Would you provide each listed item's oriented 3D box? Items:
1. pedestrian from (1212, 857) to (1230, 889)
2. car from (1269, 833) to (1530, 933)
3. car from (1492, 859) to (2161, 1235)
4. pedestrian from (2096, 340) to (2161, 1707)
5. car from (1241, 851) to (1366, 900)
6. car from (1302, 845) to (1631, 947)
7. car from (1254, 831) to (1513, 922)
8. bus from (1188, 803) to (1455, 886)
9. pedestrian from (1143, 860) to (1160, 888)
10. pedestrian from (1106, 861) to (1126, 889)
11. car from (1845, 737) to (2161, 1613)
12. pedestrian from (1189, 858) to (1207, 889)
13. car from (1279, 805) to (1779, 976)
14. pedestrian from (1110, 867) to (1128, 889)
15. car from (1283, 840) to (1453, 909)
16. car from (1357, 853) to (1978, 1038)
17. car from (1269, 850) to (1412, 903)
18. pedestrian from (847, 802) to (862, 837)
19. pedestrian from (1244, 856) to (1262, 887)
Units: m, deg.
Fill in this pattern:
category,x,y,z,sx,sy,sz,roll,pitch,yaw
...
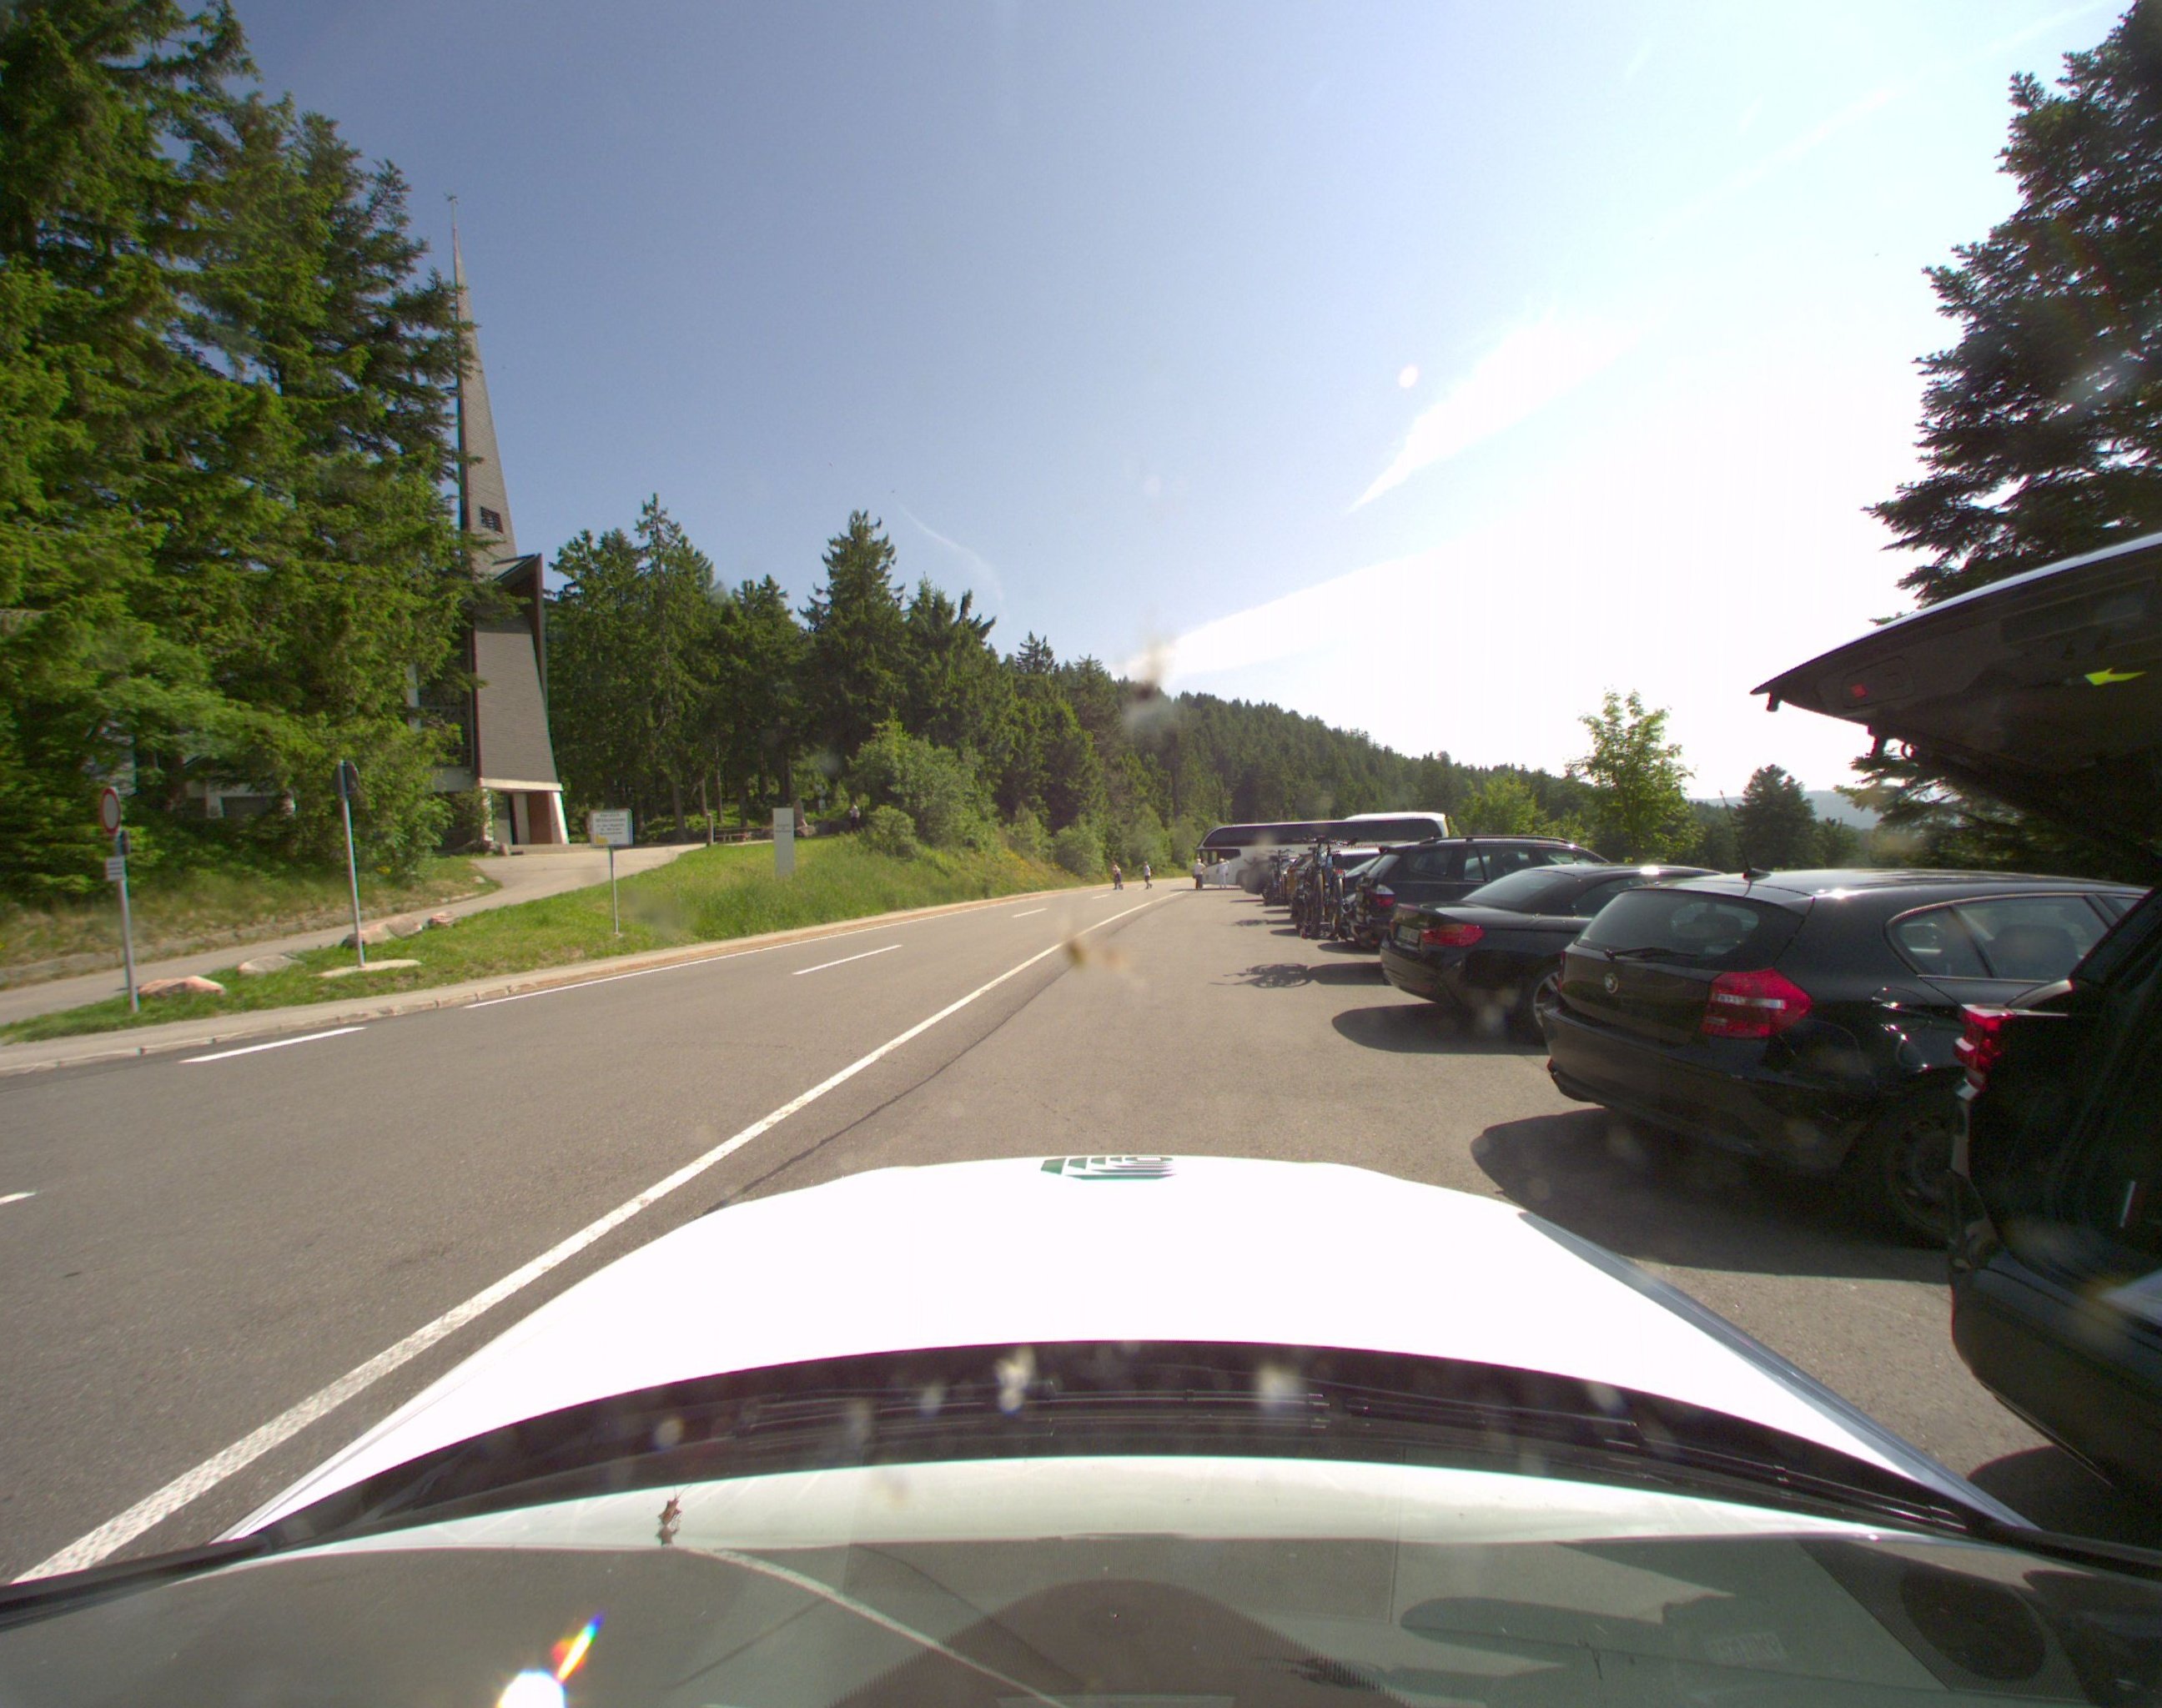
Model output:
category,x,y,z,sx,sy,sz,roll,pitch,yaw
pedestrian,7.299,0.987,42.504,0.764,1.585,0.775,-3,-1,15
car,5.780,0.536,15.284,4.219,1.554,1.842,-3,-1,8
car,4.431,0.723,3.923,4.069,1.376,1.702,0,-1,-1
pedestrian,1.633,0.324,0.630,0.751,1.870,0.739,-1,2,9
car,7.666,0.734,28.407,3.964,1.449,1.866,-3,-1,8
car,5.724,0.627,12.605,4.219,1.269,1.842,-3,-1,8
car,6.486,0.491,18.059,5.004,1.651,2.053,-3,-1,8
bus,12.514,-0.388,43.290,12.986,3.532,3.058,-3,-1,19
pedestrian,4.120,1.168,47.766,0.851,1.585,0.818,-3,-1,-1
pedestrian,2.123,1.270,49.667,0.857,1.683,0.863,-3,-1,-23
car,4.156,0.618,1.146,4.325,1.626,1.871,1,-1,3
pedestrian,6.159,1.016,42.838,0.764,1.585,0.775,-3,-1,15
car,5.019,0.452,9.906,4.917,1.695,1.951,-3,-1,11
pedestrian,2.263,1.428,48.736,0.737,1.279,0.777,-3,-1,-24
car,7.526,0.537,21.696,3.964,1.554,1.664,-3,-1,8
car,4.668,0.700,6.975,4.065,1.376,1.703,0,-1,2
car,7.941,0.682,25.203,3.964,1.398,1.624,-3,-1,8
pedestrian,-12.641,-1.934,45.397,0.681,1.878,0.539,-3,-1,-12
pedestrian,8.992,0.919,42.541,0.764,1.585,0.776,-3,-1,17
